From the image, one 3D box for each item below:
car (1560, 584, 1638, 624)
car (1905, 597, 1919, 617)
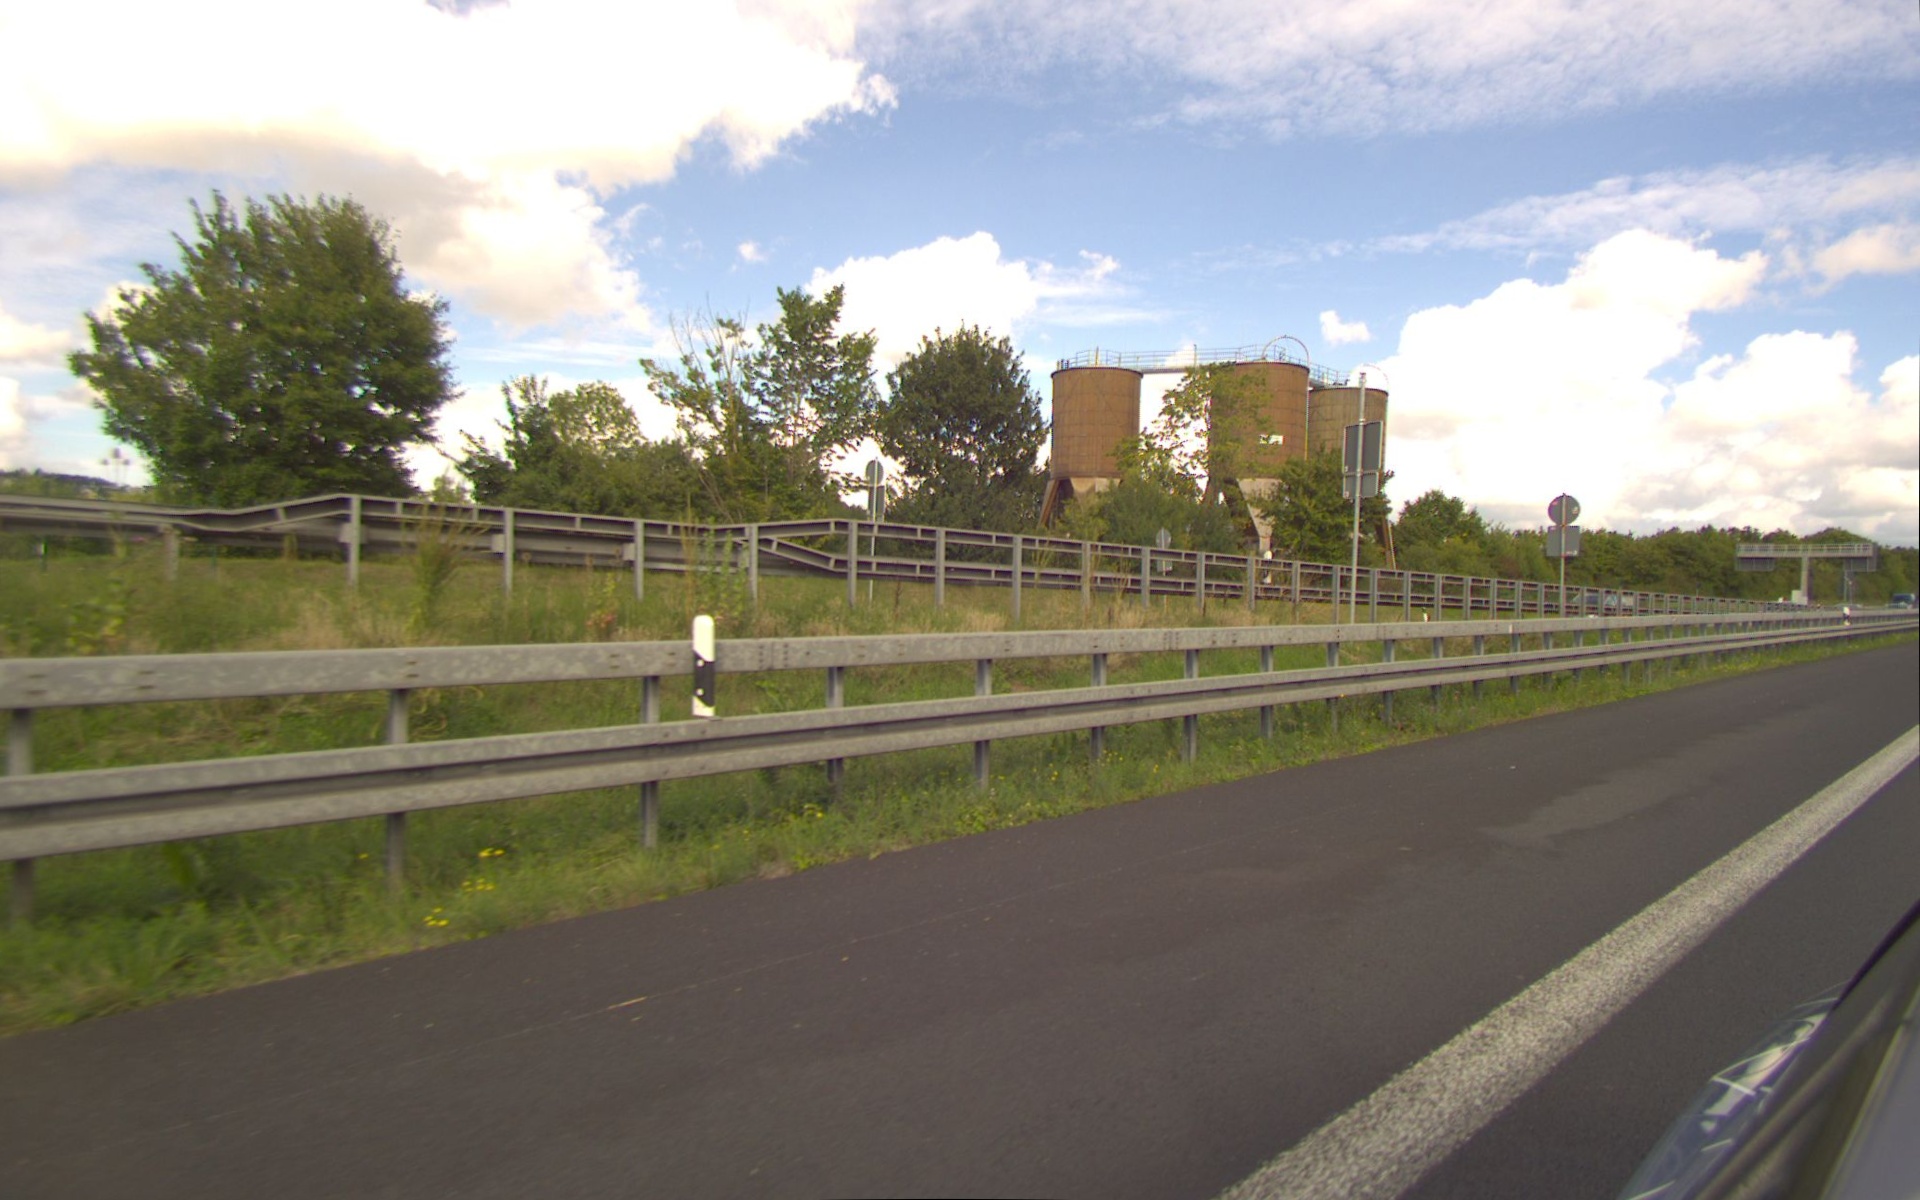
[{"bbox_3d":[29.912,0.151,47.357,3.930,1.729,1.998,0,3,-41],"label":"car"},{"bbox_3d":[112.462,0.836,118.571,5.040,2.213,1.997,0,1,-42],"label":"car"}]
